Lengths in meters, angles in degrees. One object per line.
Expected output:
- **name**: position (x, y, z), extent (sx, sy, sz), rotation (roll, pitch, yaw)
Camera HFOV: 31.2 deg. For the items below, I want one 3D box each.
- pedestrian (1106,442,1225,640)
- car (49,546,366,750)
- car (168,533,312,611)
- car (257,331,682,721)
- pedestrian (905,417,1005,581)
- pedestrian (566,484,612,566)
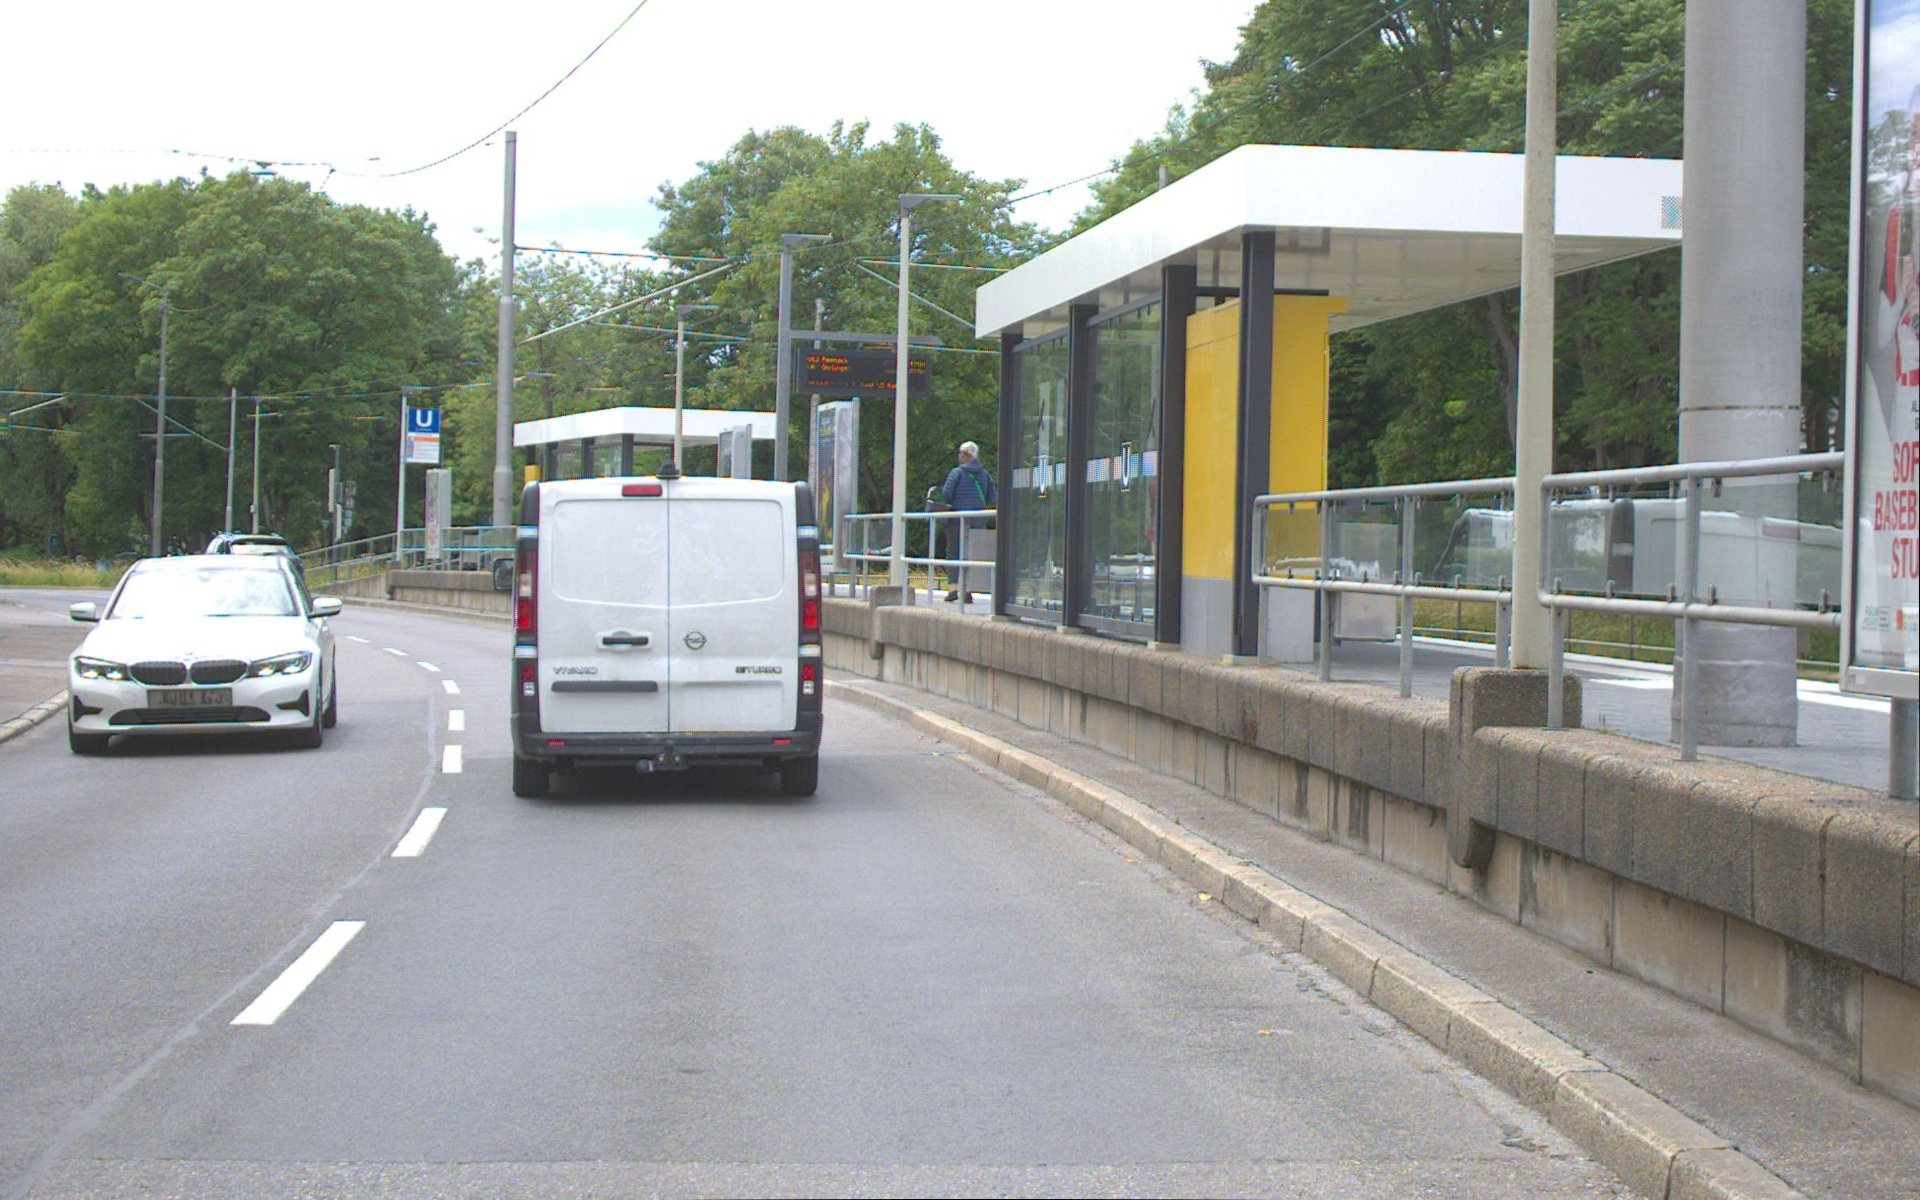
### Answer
- **pedestrian**: position (1.381, -0.396, 23.201), extent (0.620, 1.294, 0.720), rotation (1, 1, -10)
- **car**: position (-5.768, 0.305, 26.832), extent (1.818, 1.414, 4.464), rotation (-1, 1, -5)
- **car**: position (-15.893, -0.636, 75.746), extent (2.354, 1.559, 4.374), rotation (3, 0, -21)
- **car**: position (-3.003, -0.455, 22.238), extent (2.116, 2.127, 5.441), rotation (2, 1, -3)
- **pedestrian**: position (-0.057, -1.044, 35.835), extent (0.885, 1.665, 0.910), rotation (1, 1, -8)
- **pedestrian**: position (-6.407, -1.297, 59.284), extent (0.638, 1.399, 0.765), rotation (1, 2, -17)
